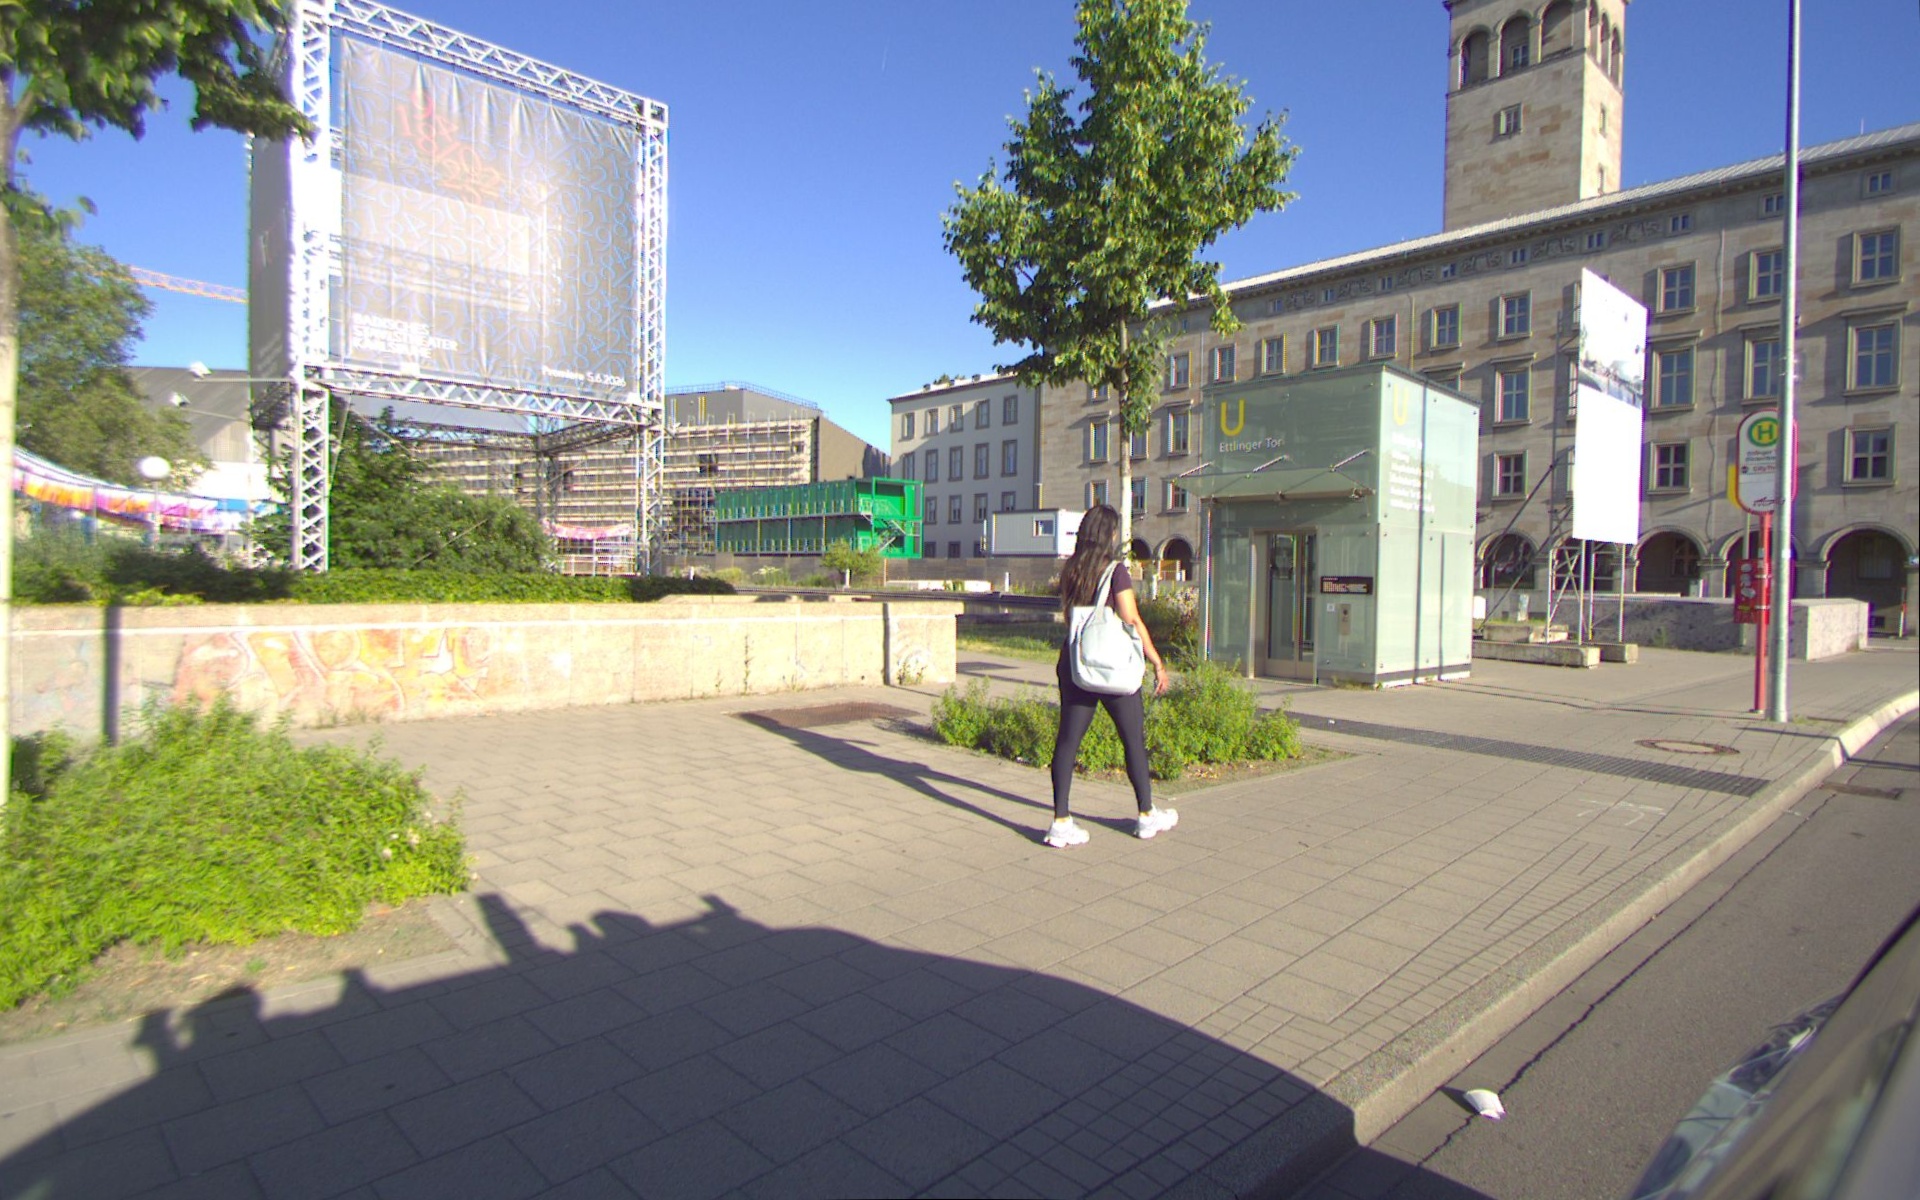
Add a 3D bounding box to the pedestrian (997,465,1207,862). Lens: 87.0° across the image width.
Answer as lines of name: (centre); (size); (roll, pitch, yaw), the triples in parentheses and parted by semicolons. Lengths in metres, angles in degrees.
pedestrian: (0.725, 0.269, 5.213); (0.927, 1.809, 1.070); (1, 1, 9)
